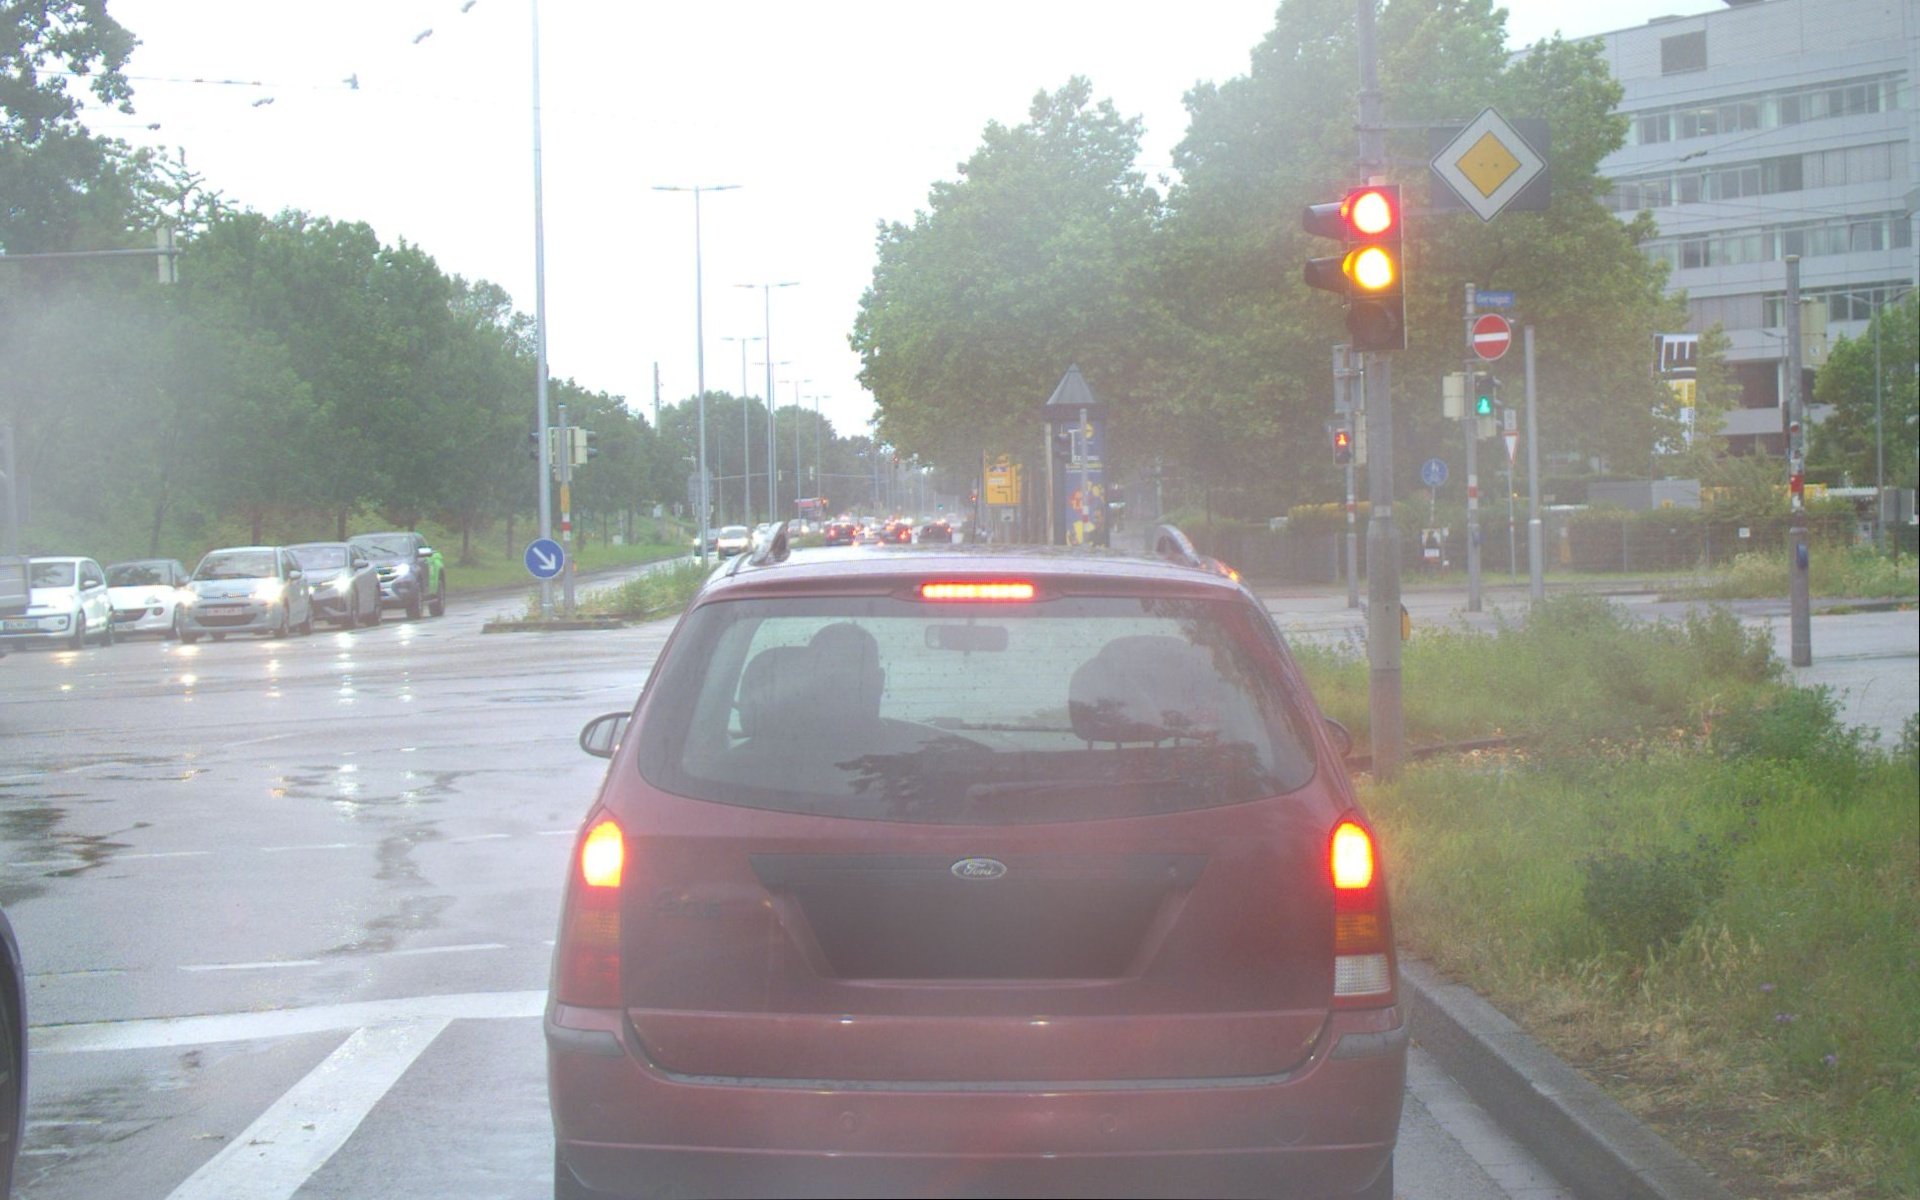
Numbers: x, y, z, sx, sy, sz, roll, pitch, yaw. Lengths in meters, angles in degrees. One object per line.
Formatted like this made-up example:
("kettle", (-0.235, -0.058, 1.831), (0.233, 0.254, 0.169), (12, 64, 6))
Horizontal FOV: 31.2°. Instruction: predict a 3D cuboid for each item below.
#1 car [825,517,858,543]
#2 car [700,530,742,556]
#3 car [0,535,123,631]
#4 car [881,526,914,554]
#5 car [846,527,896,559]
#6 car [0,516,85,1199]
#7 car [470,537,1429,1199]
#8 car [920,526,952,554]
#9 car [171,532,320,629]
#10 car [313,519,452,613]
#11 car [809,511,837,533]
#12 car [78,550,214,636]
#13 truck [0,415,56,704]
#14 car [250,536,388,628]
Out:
("car", (-6.985, -4.125, 202.369), (1.698, 1.522, 3.846), (-1, 1, 1))
("car", (-14.576, -3.499, 209.781), (2.094, 1.522, 4.192), (-1, 1, 2))
("car", (-14.633, -0.289, 55.052), (1.638, 1.447, 3.788), (-2, 1, -3))
("car", (-3.535, -3.405, 194.161), (1.698, 1.522, 3.846), (-1, 1, 1))
("car", (-4.327, -2.786, 167.690), (2.147, 1.522, 4.192), (-1, 1, 2))
("car", (-2.687, 0.652, 4.878), (1.769, 1.568, 4.822), (1, 1, -2))
("car", (-0.070, 0.608, 7.810), (1.642, 1.460, 3.733), (1, 1, -2))
("car", (-1.324, -3.388, 193.573), (1.671, 1.522, 3.846), (-1, 1, 1))
("car", (-11.633, -0.343, 56.157), (1.638, 1.468, 3.965), (-2, 1, -1))
("car", (-11.956, -0.737, 71.522), (2.065, 1.813, 5.542), (-2, 1, -2))
("car", (-9.741, -5.527, 244.873), (1.698, 1.522, 3.846), (-1, 1, 1))
("car", (-14.510, -0.150, 61.442), (1.590, 1.399, 3.823), (-2, 1, -2))
("truck", (-9.811, -0.243, 25.881), (2.476, 2.357, 6.862), (-1, 1, 18))
("car", (-11.743, -0.341, 63.261), (1.762, 1.580, 4.814), (-2, 1, -2))
